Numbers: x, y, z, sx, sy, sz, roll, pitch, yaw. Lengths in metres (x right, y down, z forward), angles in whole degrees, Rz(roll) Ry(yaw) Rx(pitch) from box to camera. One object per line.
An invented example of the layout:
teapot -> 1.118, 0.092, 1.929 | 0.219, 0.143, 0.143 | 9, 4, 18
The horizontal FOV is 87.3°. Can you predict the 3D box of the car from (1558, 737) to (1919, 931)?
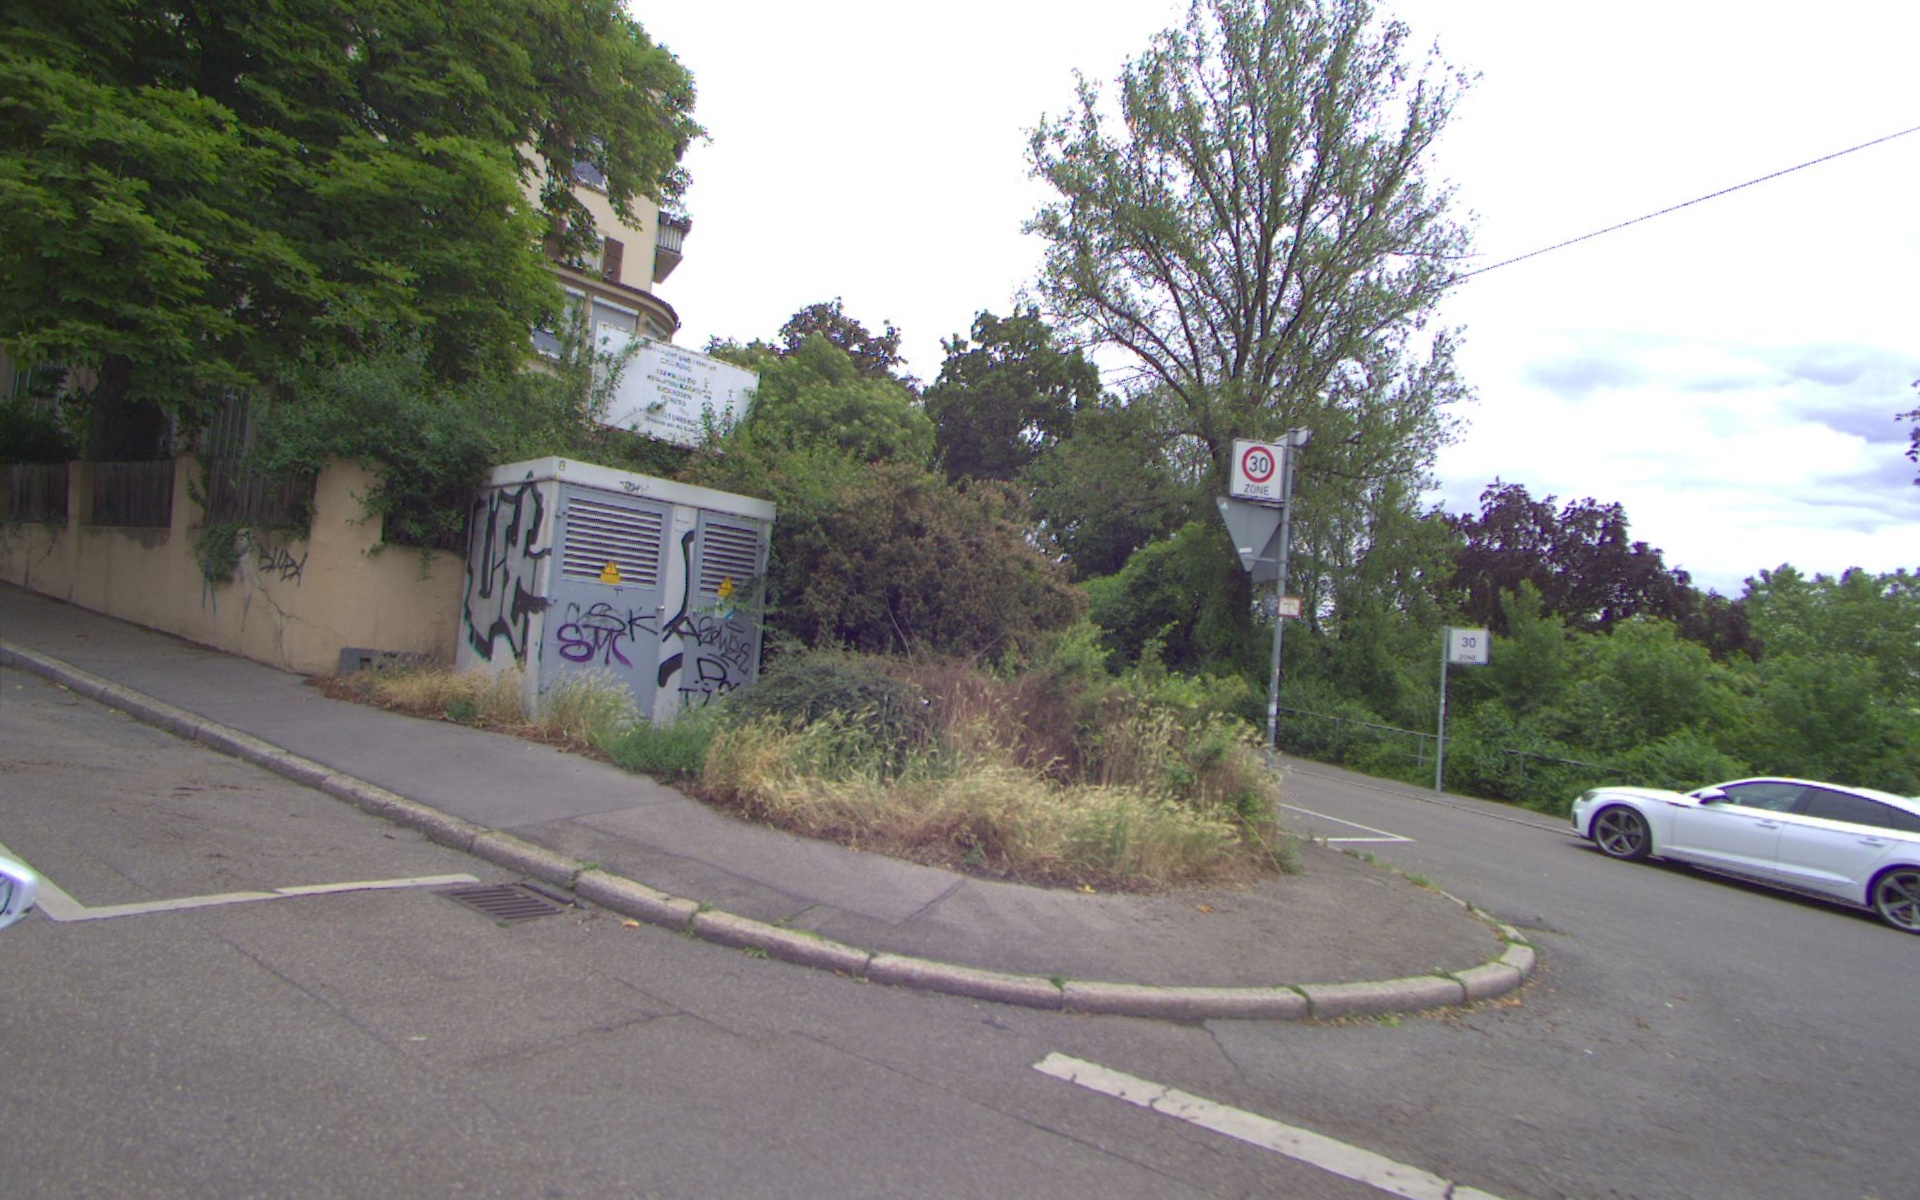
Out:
car -> 9.921, 2.763, 11.777 | 1.883, 1.395, 4.564 | 12, -3, -31
